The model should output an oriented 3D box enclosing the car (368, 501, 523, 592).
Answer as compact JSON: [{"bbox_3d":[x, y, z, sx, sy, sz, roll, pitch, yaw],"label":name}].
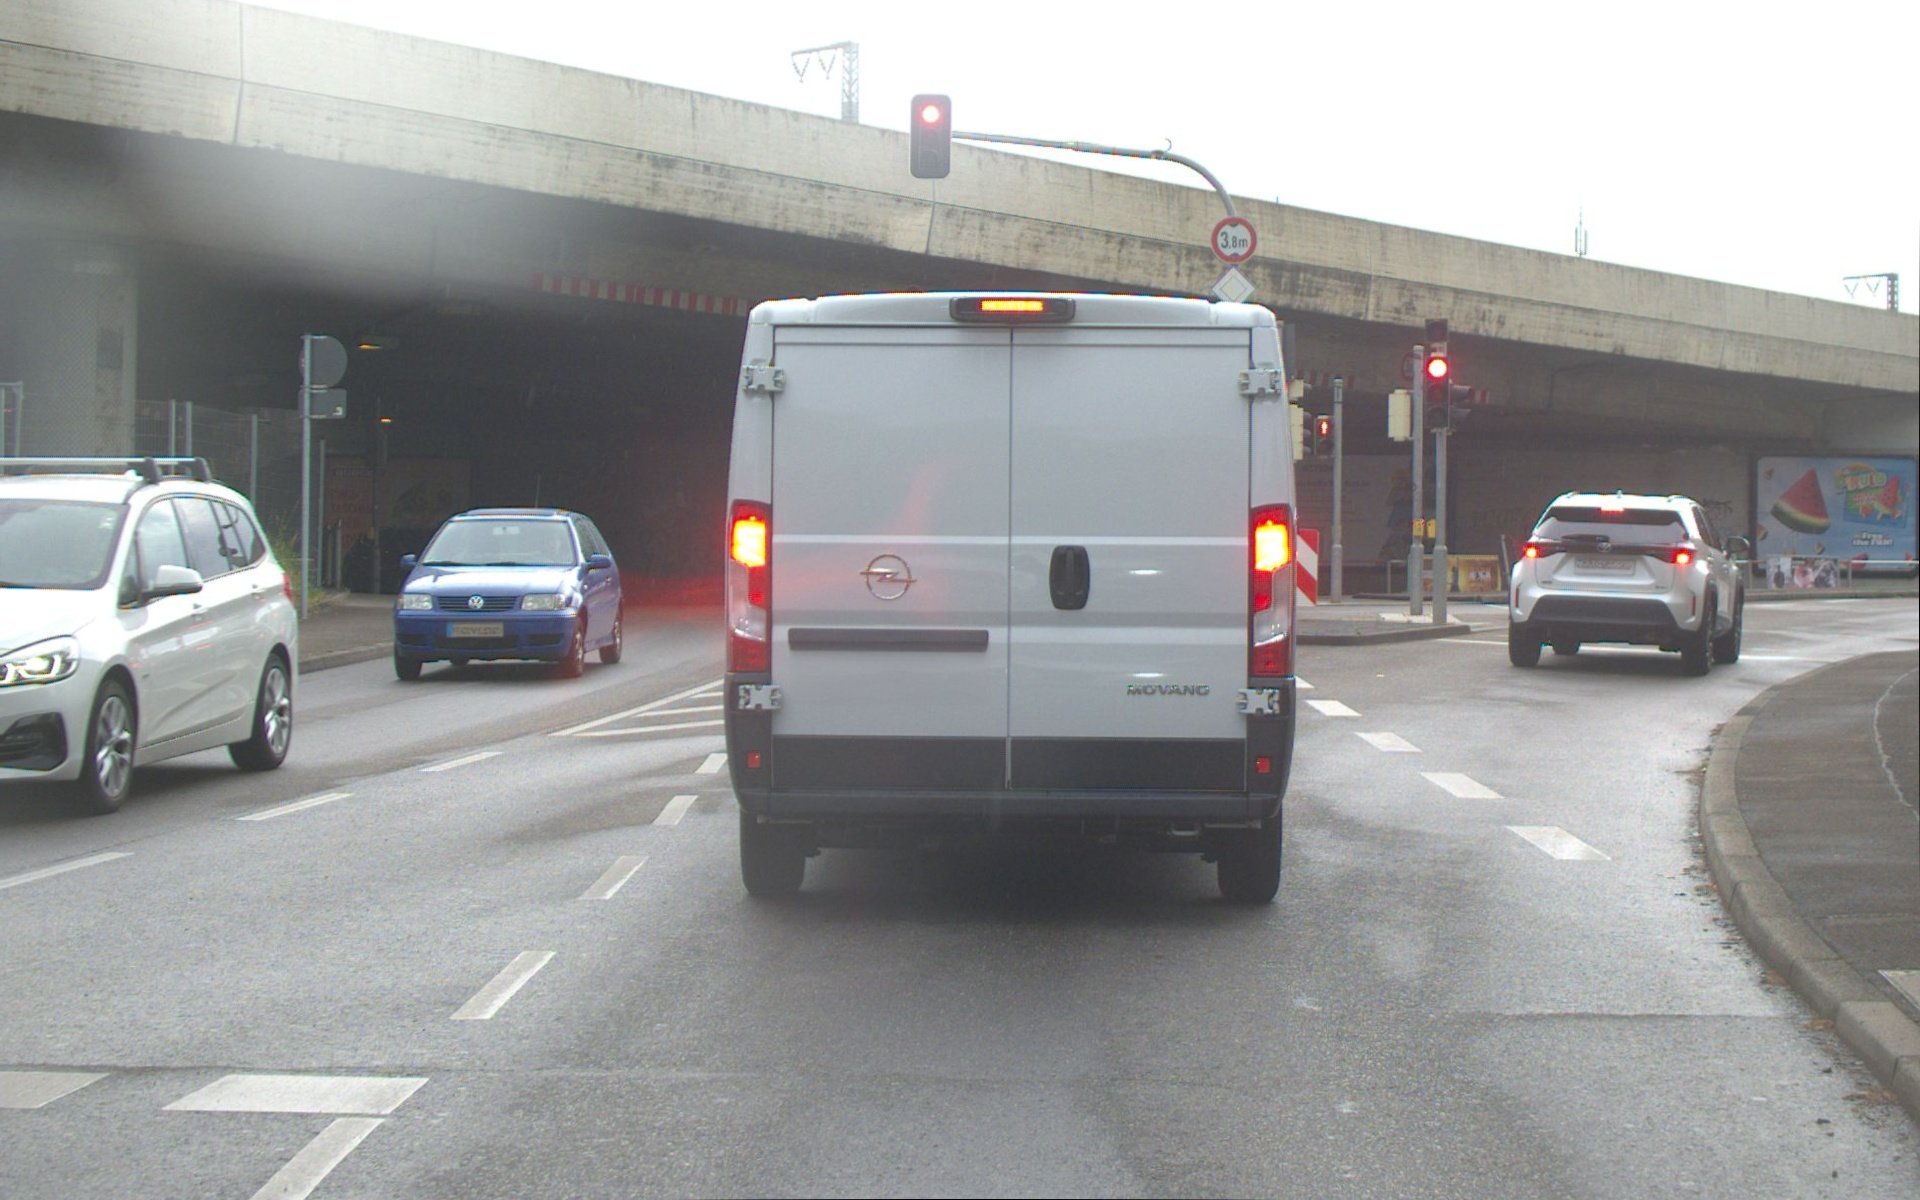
[{"bbox_3d":[-9.338,-0.985,62.136,1.841,1.564,4.414,0,2,-21],"label":"car"}]

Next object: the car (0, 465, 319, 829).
[{"bbox_3d":[-4.761,0.122,17.504,1.831,1.573,4.333,2,2,5],"label":"car"}]

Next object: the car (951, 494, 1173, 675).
[{"bbox_3d":[1.114,-0.164,35.410,1.994,1.723,3.999,1,0,6],"label":"car"}]

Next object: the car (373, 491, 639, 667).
[{"bbox_3d":[-3.923,-0.228,30.223,1.598,1.421,3.697,1,2,4],"label":"car"}]

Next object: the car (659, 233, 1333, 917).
[{"bbox_3d":[0.235,-0.153,14.487,2.305,2.335,5.282,1,1,3],"label":"car"}]

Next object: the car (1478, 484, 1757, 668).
[{"bbox_3d":[6.080,-0.218,31.457,1.995,1.544,3.996,1,0,18],"label":"car"}]
